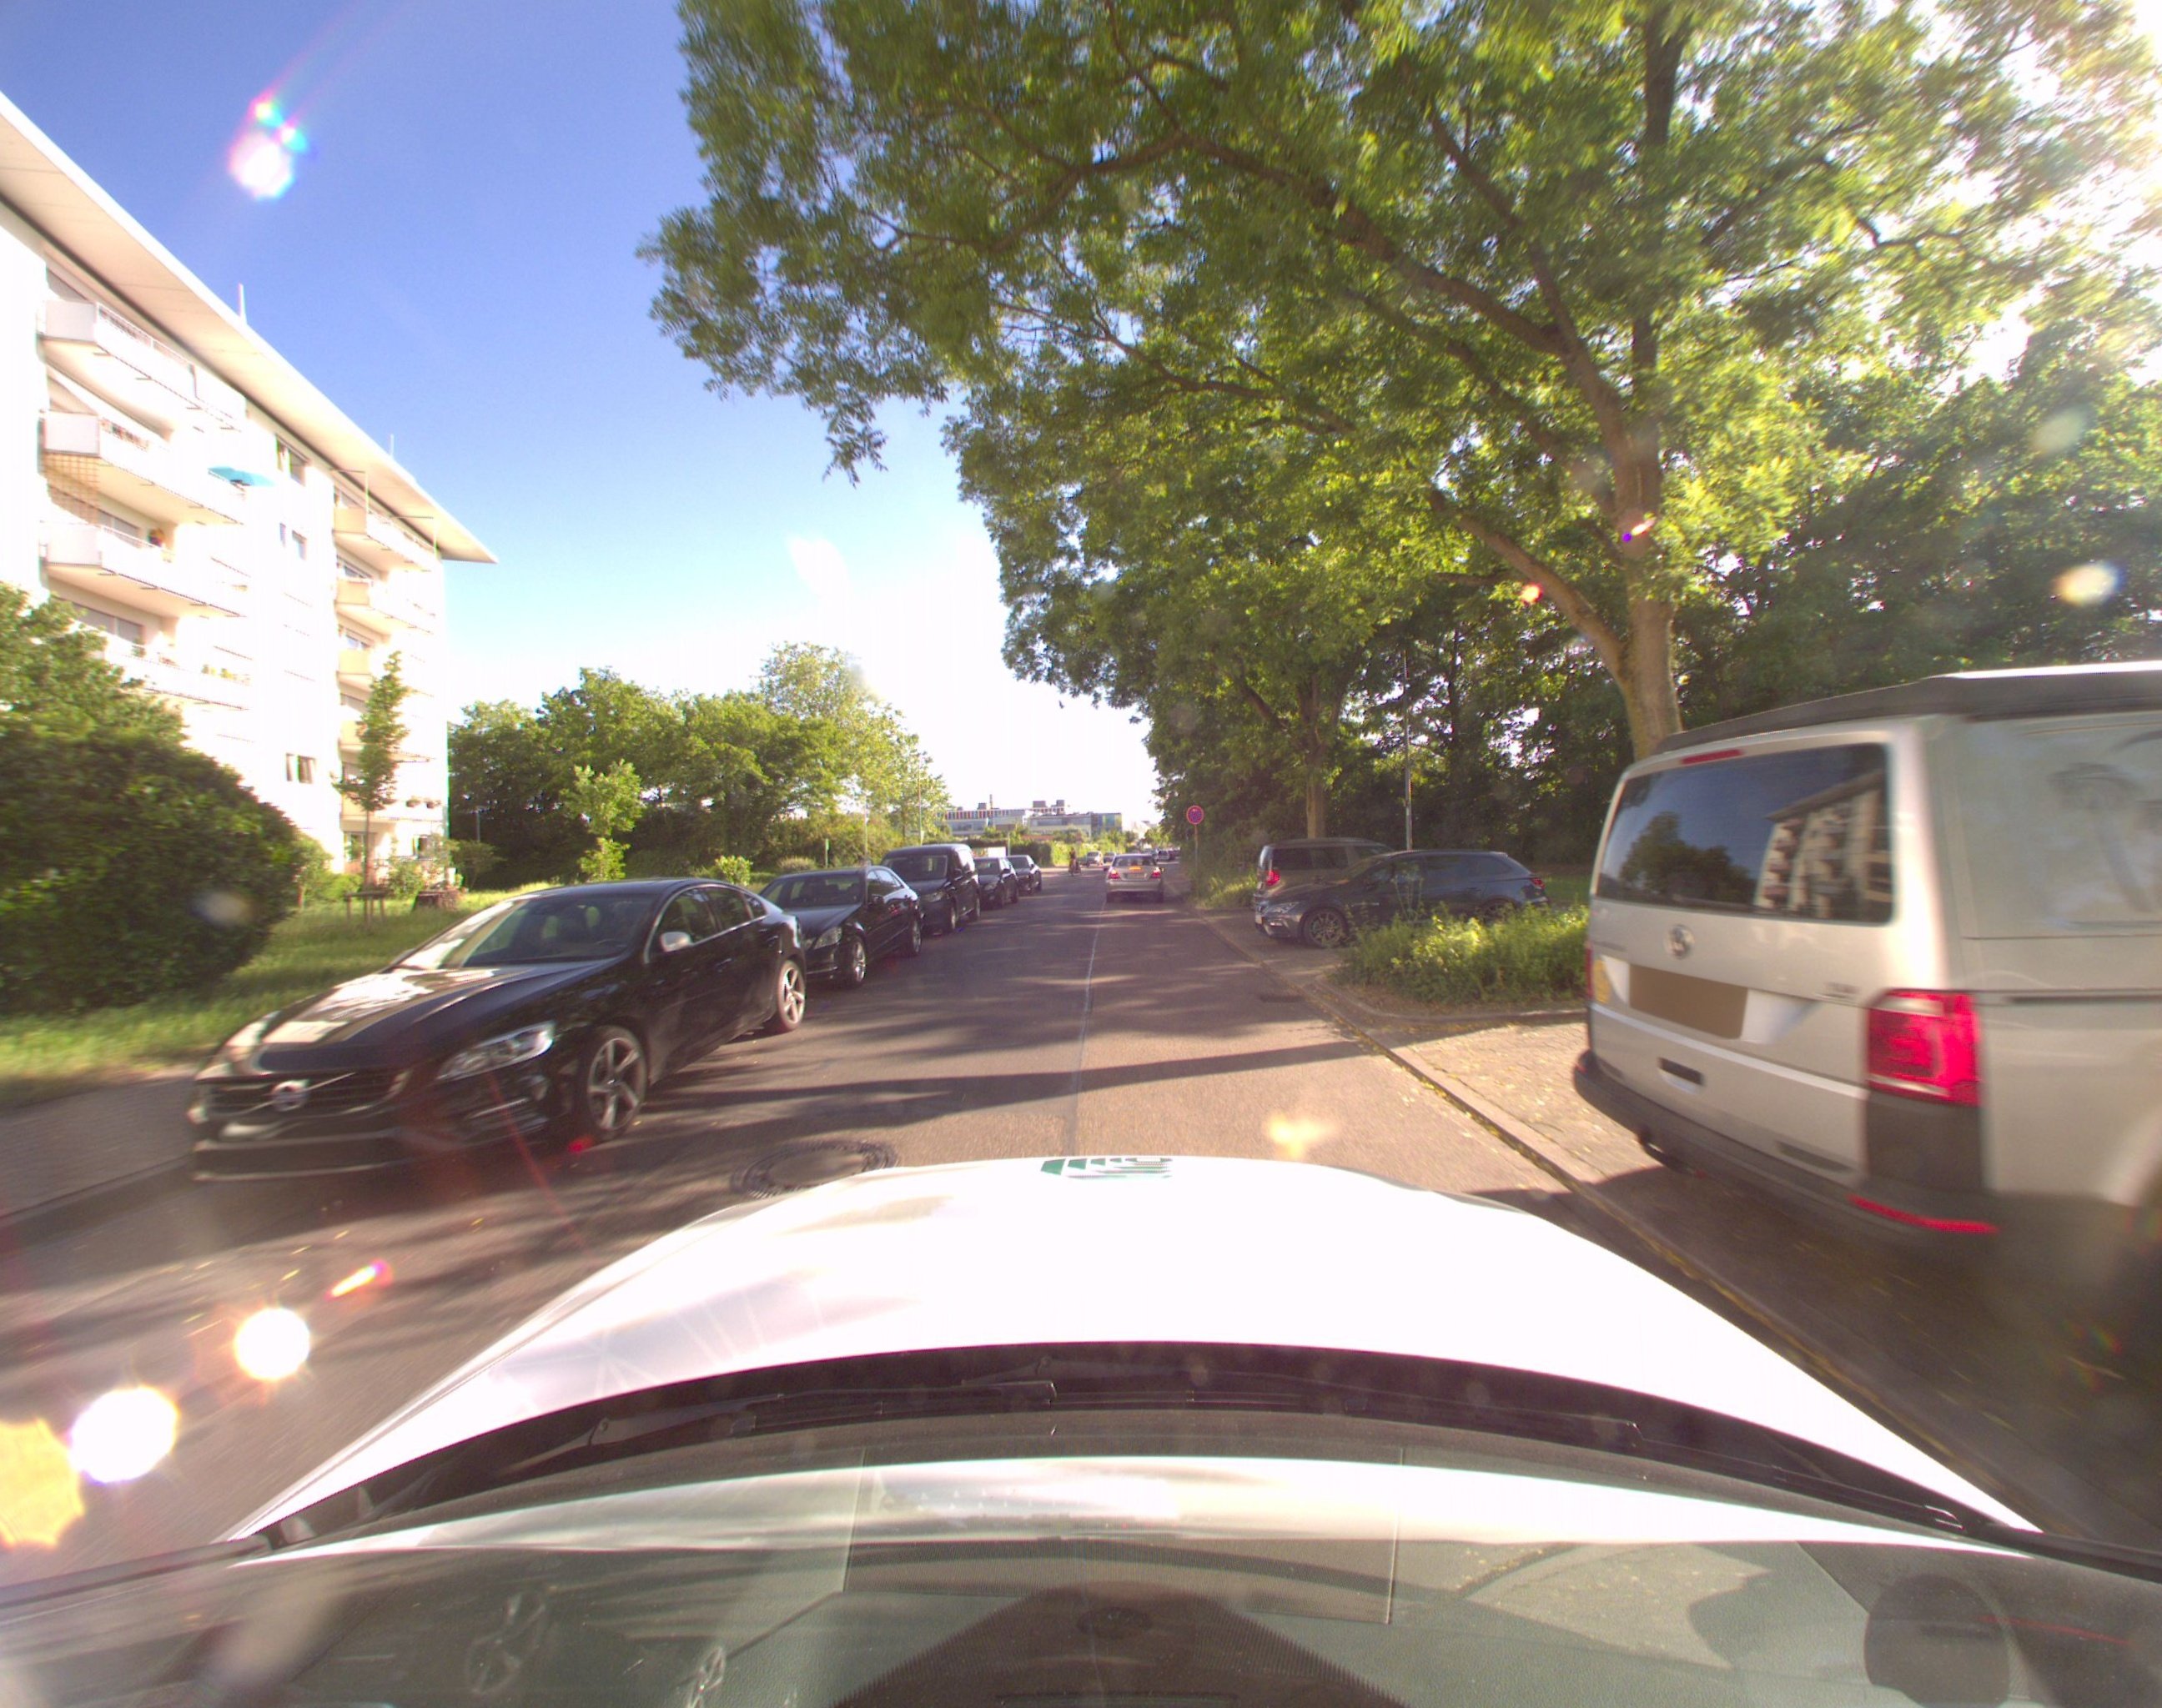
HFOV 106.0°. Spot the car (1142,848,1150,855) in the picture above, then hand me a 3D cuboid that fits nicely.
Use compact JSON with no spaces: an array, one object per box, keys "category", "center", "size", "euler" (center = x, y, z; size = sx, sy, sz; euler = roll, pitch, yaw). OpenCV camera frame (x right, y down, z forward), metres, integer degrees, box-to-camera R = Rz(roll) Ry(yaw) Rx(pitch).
[{"category":"car","center":[15.060,-0.595,188.340],"size":[1.551,1.494,3.767],"euler":[-2,0,8]}]

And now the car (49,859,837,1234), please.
[{"category":"car","center":[-3.480,0.845,5.927],"size":[1.834,1.481,4.801],"euler":[-3,0,1]}]

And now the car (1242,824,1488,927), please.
[{"category":"car","center":[5.347,0.392,15.758],"size":[4.130,1.695,1.777],"euler":[-3,0,4]}]

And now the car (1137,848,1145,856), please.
[{"category":"car","center":[12.645,-0.428,171.427],"size":[1.551,1.494,3.578],"euler":[1,0,8]}]

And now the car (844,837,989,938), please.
[{"category":"car","center":[-3.341,0.608,17.603],"size":[1.832,1.780,4.891],"euler":[-3,0,2]}]

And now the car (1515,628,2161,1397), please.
[{"category":"car","center":[4.441,0.320,3.099],"size":[4.433,2.016,2.023],"euler":[-3,0,3]}]

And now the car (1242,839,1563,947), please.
[{"category":"car","center":[4.992,0.575,13.107],"size":[4.435,1.414,1.775],"euler":[-3,0,1]}]

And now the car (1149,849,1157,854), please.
[{"category":"car","center":[19.247,-0.698,217.628],"size":[1.844,1.428,4.143],"euler":[0,0,8]}]

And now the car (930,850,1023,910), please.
[{"category":"car","center":[-2.979,0.696,23.987],"size":[1.831,1.454,4.024],"euler":[-3,1,5]}]

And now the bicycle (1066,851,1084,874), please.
[{"category":"bicycle","center":[-0.376,0.512,51.302],"size":[0.847,1.370,3.224],"euler":[-2,0,4]}]

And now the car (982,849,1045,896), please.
[{"category":"car","center":[-2.443,0.635,30.512],"size":[1.721,1.463,4.685],"euler":[-3,1,2]}]

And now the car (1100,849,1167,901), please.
[{"category":"car","center":[1.532,0.584,25.149],"size":[1.732,1.453,3.998],"euler":[-1,0,-1]}]

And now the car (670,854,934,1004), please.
[{"category":"car","center":[-3.483,0.828,11.231],"size":[1.833,1.481,4.576],"euler":[-5,0,2]}]

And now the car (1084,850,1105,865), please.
[{"category":"car","center":[1.464,0.387,89.020],"size":[1.633,1.600,4.323],"euler":[0,0,10]}]

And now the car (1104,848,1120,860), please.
[{"category":"car","center":[4.116,-0.016,106.703],"size":[1.634,1.556,4.427],"euler":[-2,0,8]}]

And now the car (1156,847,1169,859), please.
[{"category":"car","center":[10.620,-0.175,106.103],"size":[1.547,1.538,3.564],"euler":[0,0,8]}]

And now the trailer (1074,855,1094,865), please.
[{"category":"trailer","center":[0.297,0.559,79.049],"size":[1.534,0.953,2.655],"euler":[0,0,10]}]

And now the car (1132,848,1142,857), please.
[{"category":"car","center":[10.588,-0.282,153.461],"size":[1.551,1.494,3.578],"euler":[-2,0,8]}]

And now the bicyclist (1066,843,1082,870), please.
[{"category":"bicyclist","center":[-0.441,0.144,50.819],"size":[0.841,1.658,1.065],"euler":[-2,0,4]}]
